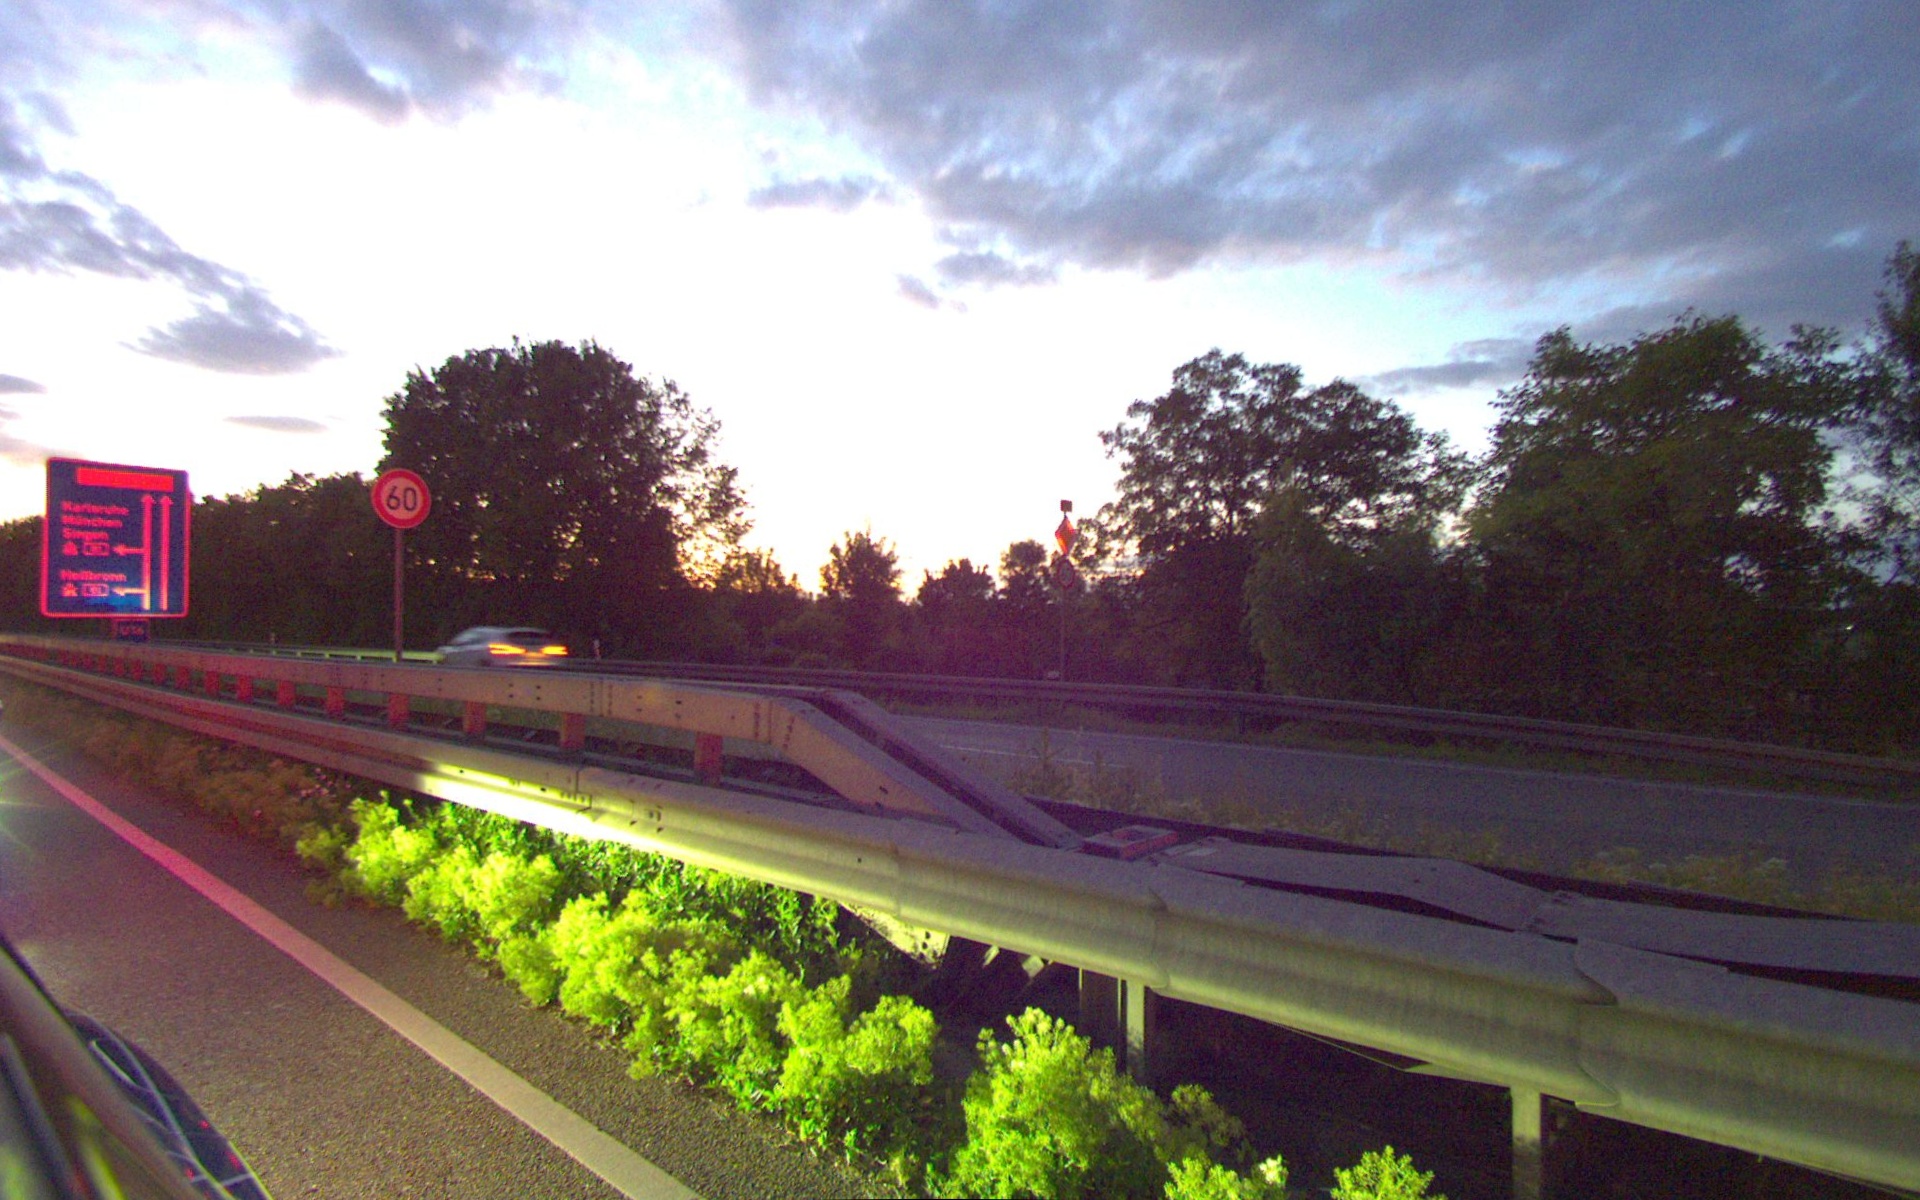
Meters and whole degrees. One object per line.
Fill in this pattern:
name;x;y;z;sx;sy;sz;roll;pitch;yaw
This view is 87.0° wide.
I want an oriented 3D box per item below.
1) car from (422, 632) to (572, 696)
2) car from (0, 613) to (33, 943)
car;-12.132;1.602;26.423;4.295;1.530;1.973;-2;-2;41
car;-6.597;0.851;5.419;4.511;1.492;1.877;-1;-1;40
